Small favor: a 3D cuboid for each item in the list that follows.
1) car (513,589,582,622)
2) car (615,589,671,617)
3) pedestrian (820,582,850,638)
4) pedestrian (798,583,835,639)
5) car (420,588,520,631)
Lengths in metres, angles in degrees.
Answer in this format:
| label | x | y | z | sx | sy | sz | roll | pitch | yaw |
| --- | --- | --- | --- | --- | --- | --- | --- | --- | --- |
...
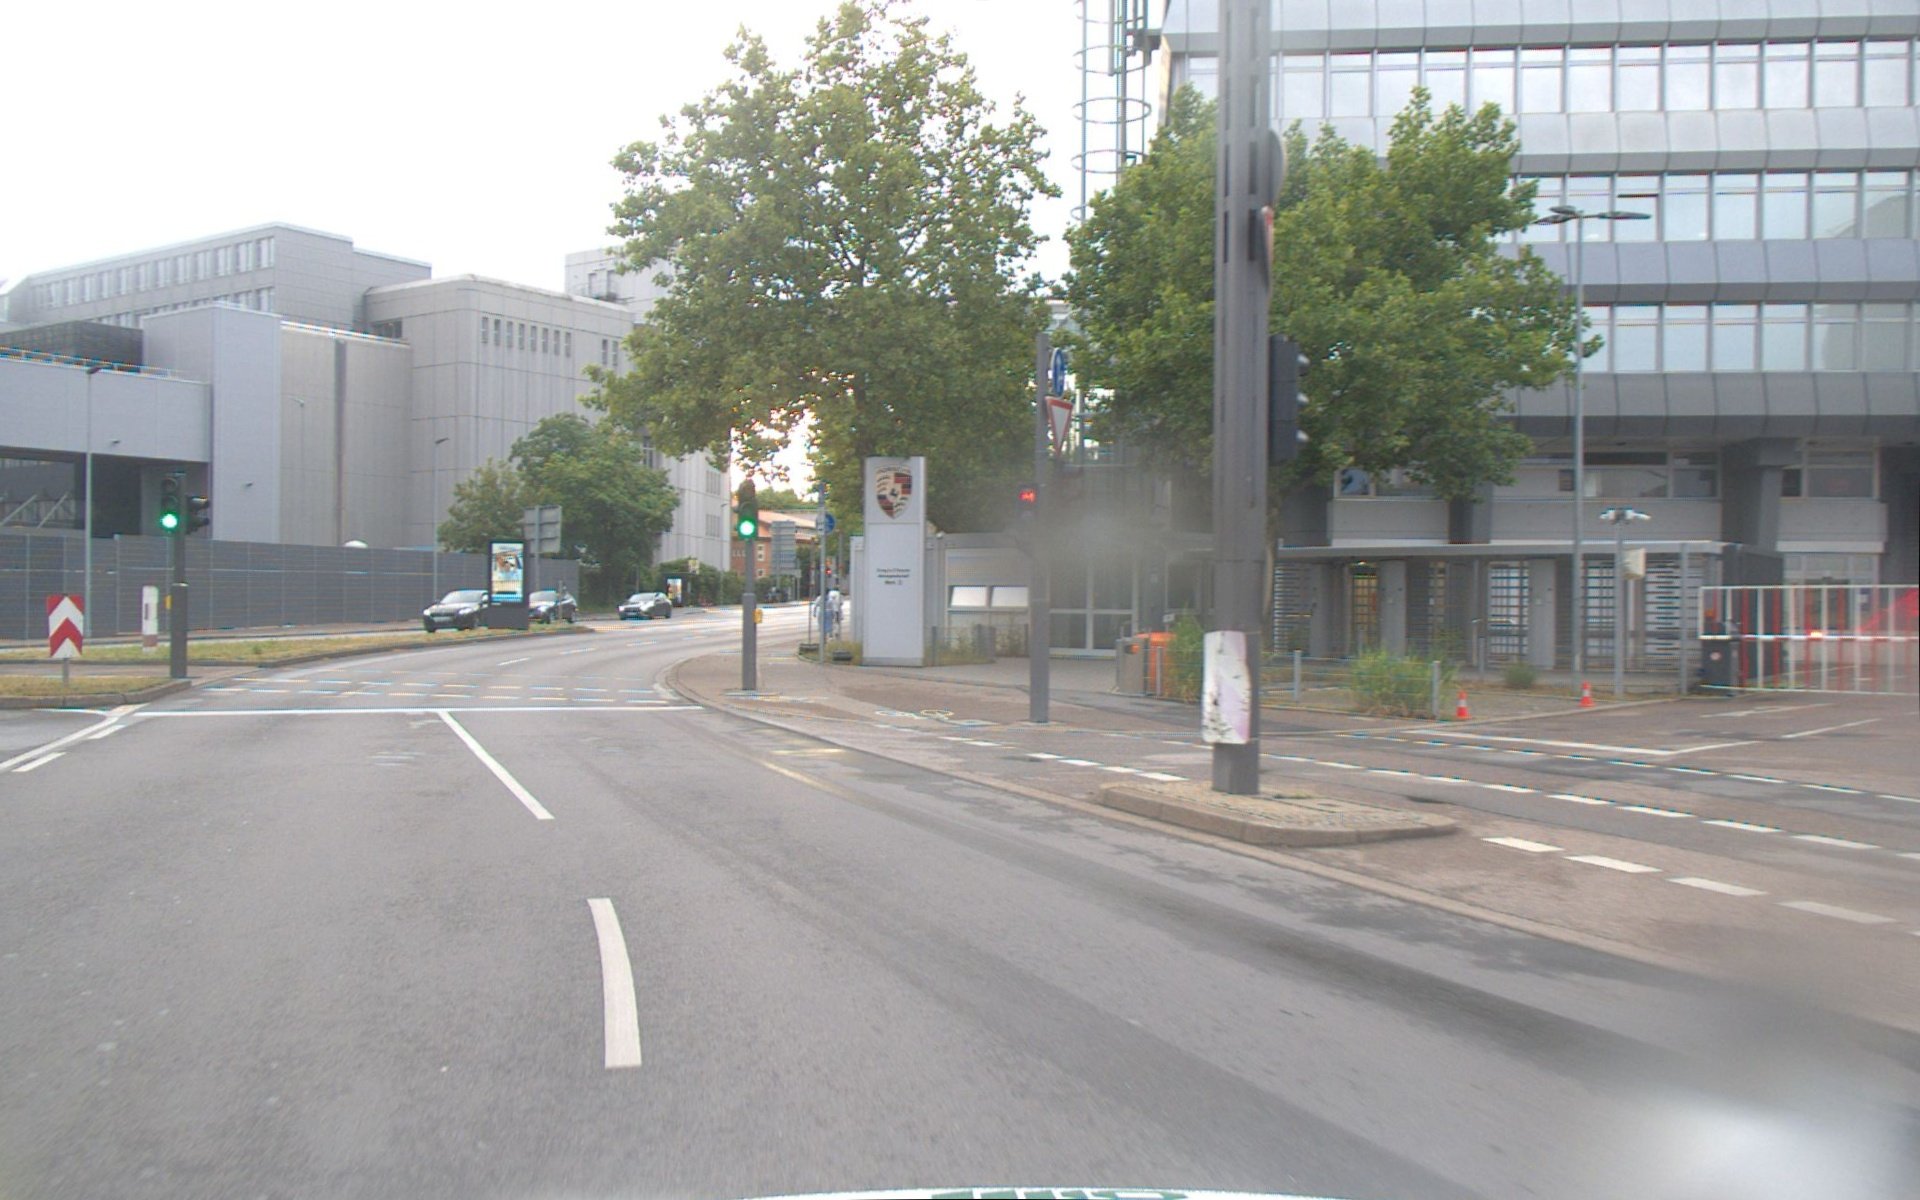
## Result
| label | x | y | z | sx | sy | sz | roll | pitch | yaw |
| --- | --- | --- | --- | --- | --- | --- | --- | --- | --- |
| car | -18.986 | 0.231 | 76.281 | 1.745 | 1.479 | 4.563 | -1 | 0 | 4 |
| car | -17.087 | 0.130 | 89.379 | 1.745 | 1.409 | 4.549 | -2 | 0 | 5 |
| pedestrian | -3.625 | 0.276 | 48.162 | 0.694 | 1.620 | 0.841 | 0 | 0 | 9 |
| pedestrian | -3.972 | 0.299 | 45.907 | 0.813 | 1.547 | 0.842 | 0 | 0 | 10 |
| car | -17.325 | 0.299 | 58.697 | 1.745 | 1.465 | 4.399 | 0 | 0 | 8 |
